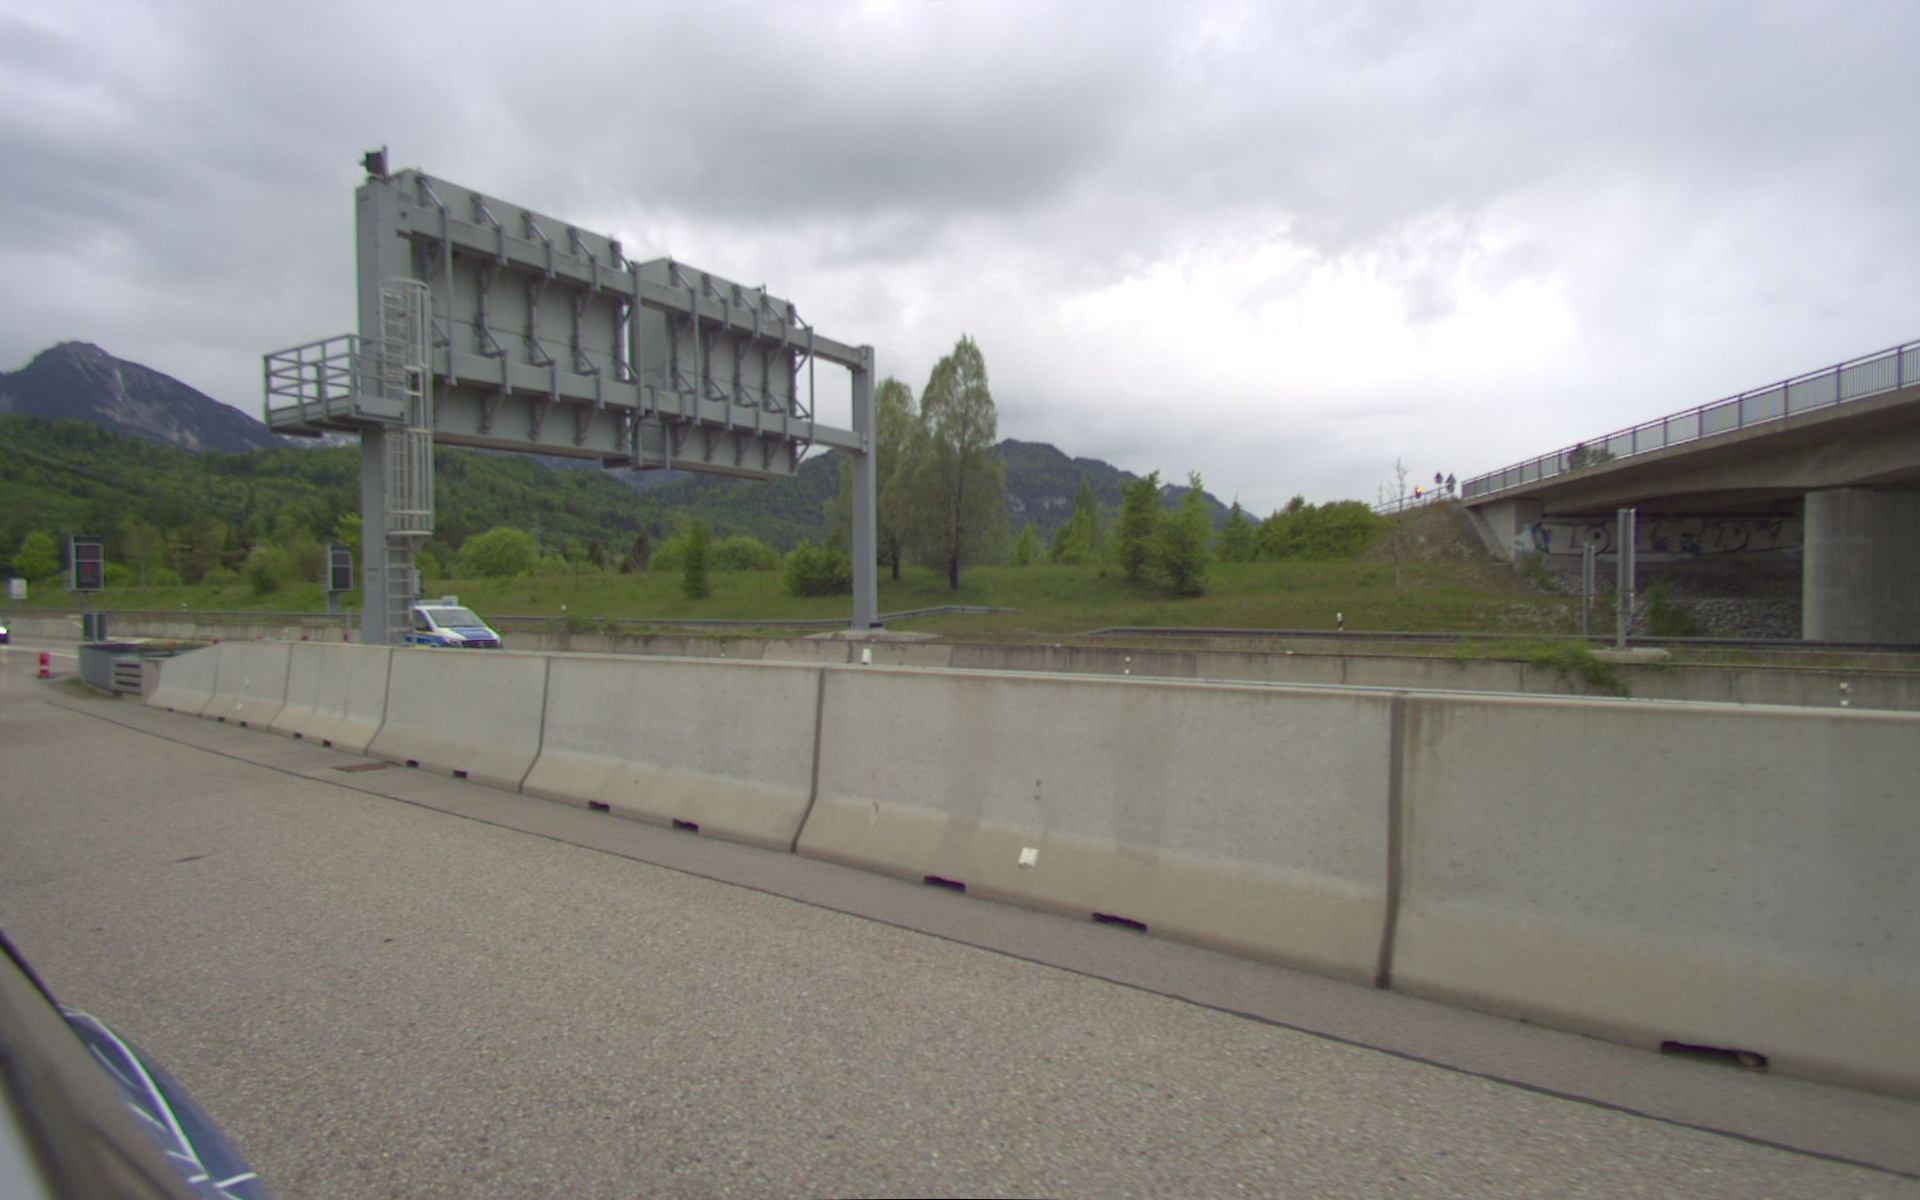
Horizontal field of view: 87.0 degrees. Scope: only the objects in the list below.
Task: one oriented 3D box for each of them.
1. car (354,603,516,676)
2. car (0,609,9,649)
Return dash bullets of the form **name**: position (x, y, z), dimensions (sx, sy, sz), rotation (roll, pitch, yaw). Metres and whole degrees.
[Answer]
- **car**: position (-15.878, 1.134, 30.516), dimensions (5.036, 2.029, 2.082), rotation (0, -1, 32)
- **car**: position (-45.148, 1.345, 46.621), dimensions (4.001, 1.778, 1.718), rotation (-1, 1, 44)
